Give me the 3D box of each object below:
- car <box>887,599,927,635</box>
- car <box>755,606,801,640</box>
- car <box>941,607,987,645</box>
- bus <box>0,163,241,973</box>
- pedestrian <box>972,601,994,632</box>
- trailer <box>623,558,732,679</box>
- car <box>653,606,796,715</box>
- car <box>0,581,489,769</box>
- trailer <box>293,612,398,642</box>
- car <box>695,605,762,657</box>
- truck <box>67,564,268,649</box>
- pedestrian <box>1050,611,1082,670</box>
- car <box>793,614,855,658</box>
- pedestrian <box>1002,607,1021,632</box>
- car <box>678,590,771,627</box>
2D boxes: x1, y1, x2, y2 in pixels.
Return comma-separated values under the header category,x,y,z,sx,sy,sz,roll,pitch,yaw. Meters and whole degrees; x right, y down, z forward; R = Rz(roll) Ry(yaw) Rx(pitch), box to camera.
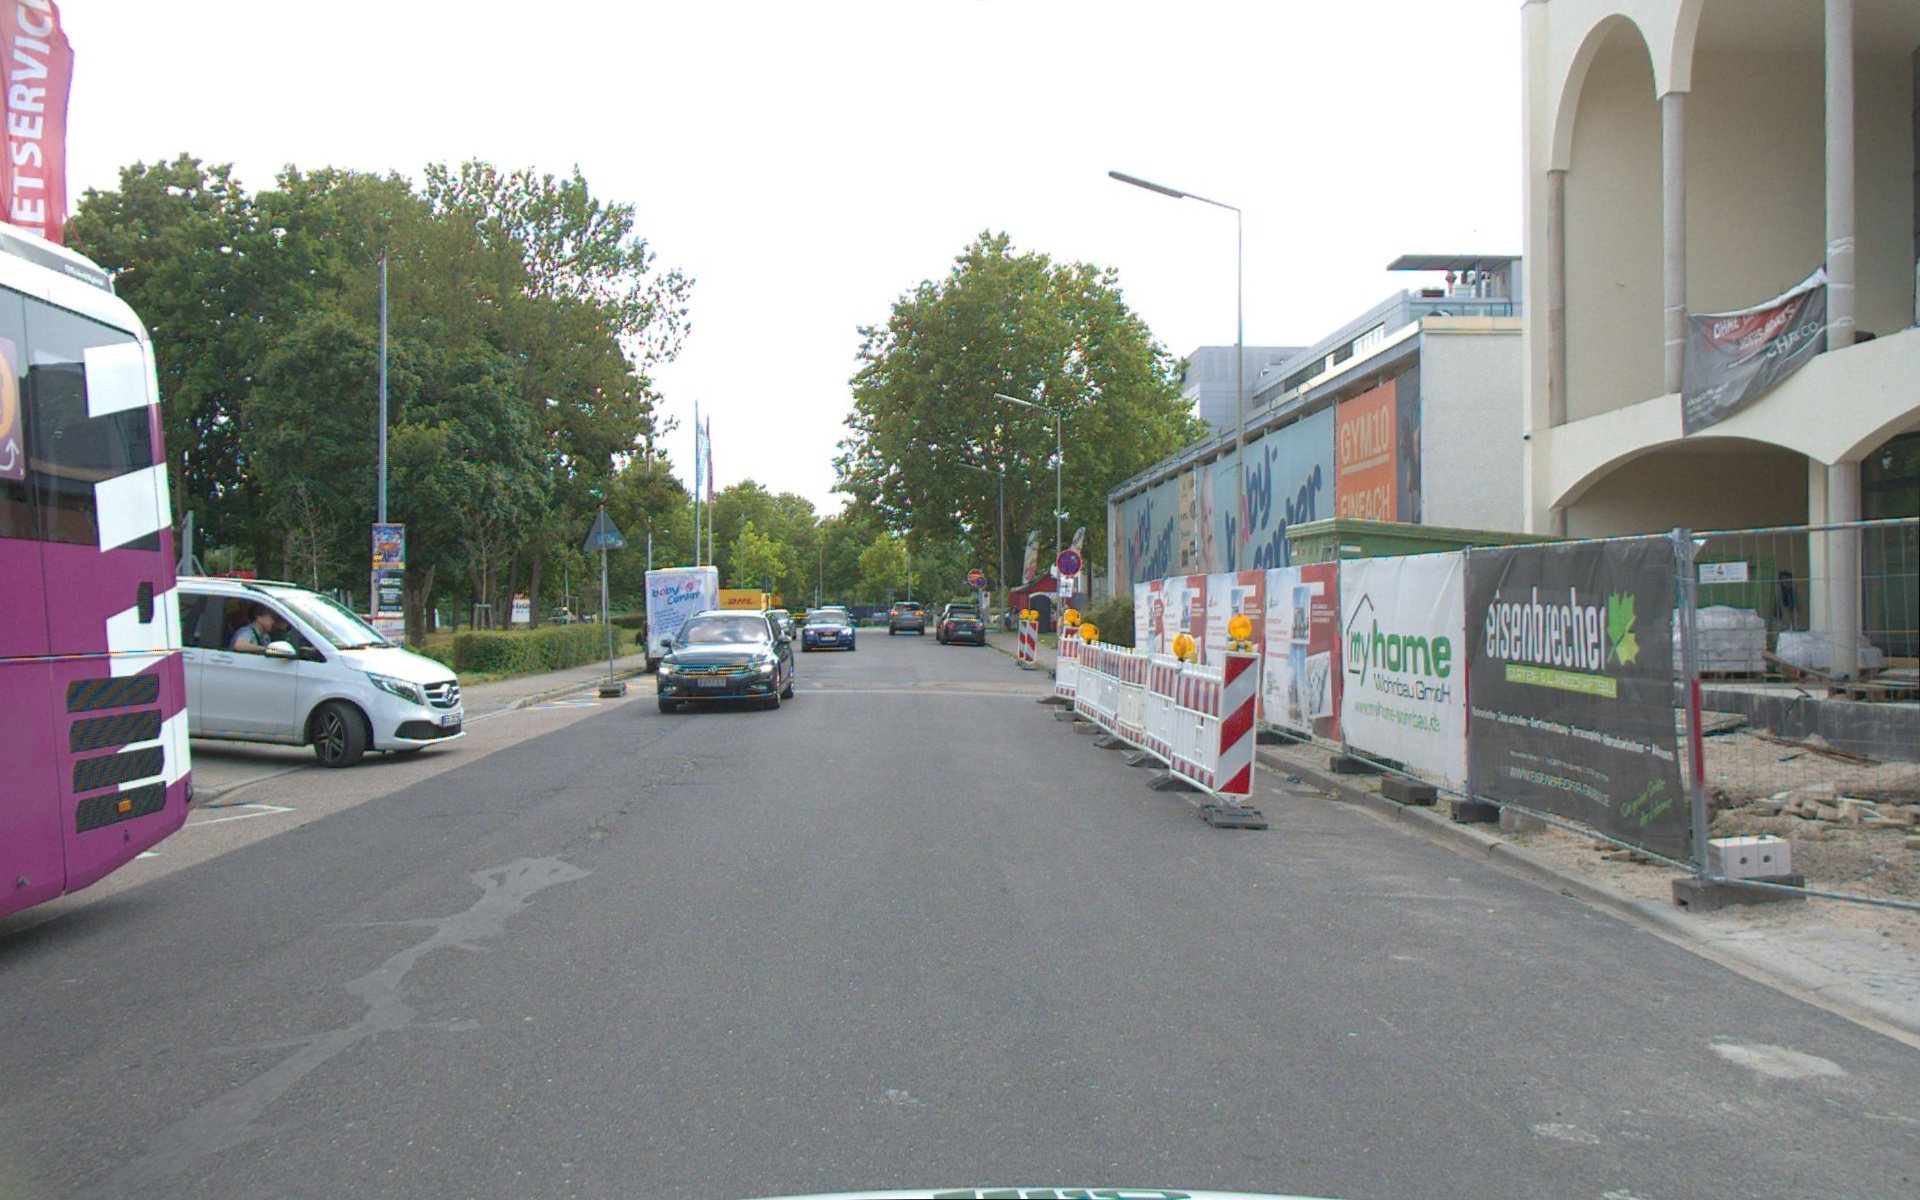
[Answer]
category,x,y,z,sx,sy,sz,roll,pitch,yaw
car,-2.807,0.860,87.255,1.923,1.847,4.272,0,0,-4
car,-8.486,1.045,77.335,1.675,1.444,4.330,-3,0,-1
car,0.136,1.037,68.289,1.771,1.415,4.587,2,0,-1
bus,-5.227,-0.110,2.768,2.610,3.482,13.211,-4,0,-2
pedestrian,1.431,1.009,101.974,0.986,1.882,1.222,0,-1,-20
trailer,-7.139,0.442,42.298,2.097,2.832,4.700,-2,0,-3
car,-3.586,0.870,25.857,1.760,1.484,4.382,-1,0,-2
car,-8.036,0.794,18.553,4.896,1.983,1.993,0,0,3
trailer,-25.733,1.110,69.297,3.737,1.211,1.715,0,0,3
car,-7.341,0.952,52.818,1.730,1.505,4.232,-3,0,-3
truck,-25.160,0.231,52.625,5.436,2.639,1.778,0,-2,-2
pedestrian,2.865,1.085,44.839,0.668,1.560,1.128,0,-1,-7
car,-4.668,1.221,57.277,1.884,1.401,4.378,0,0,-2
pedestrian,2.780,1.076,89.608,0.992,1.337,0.965,0,-1,6
car,-16.834,0.616,118.244,6.247,2.623,2.208,0,0,12
